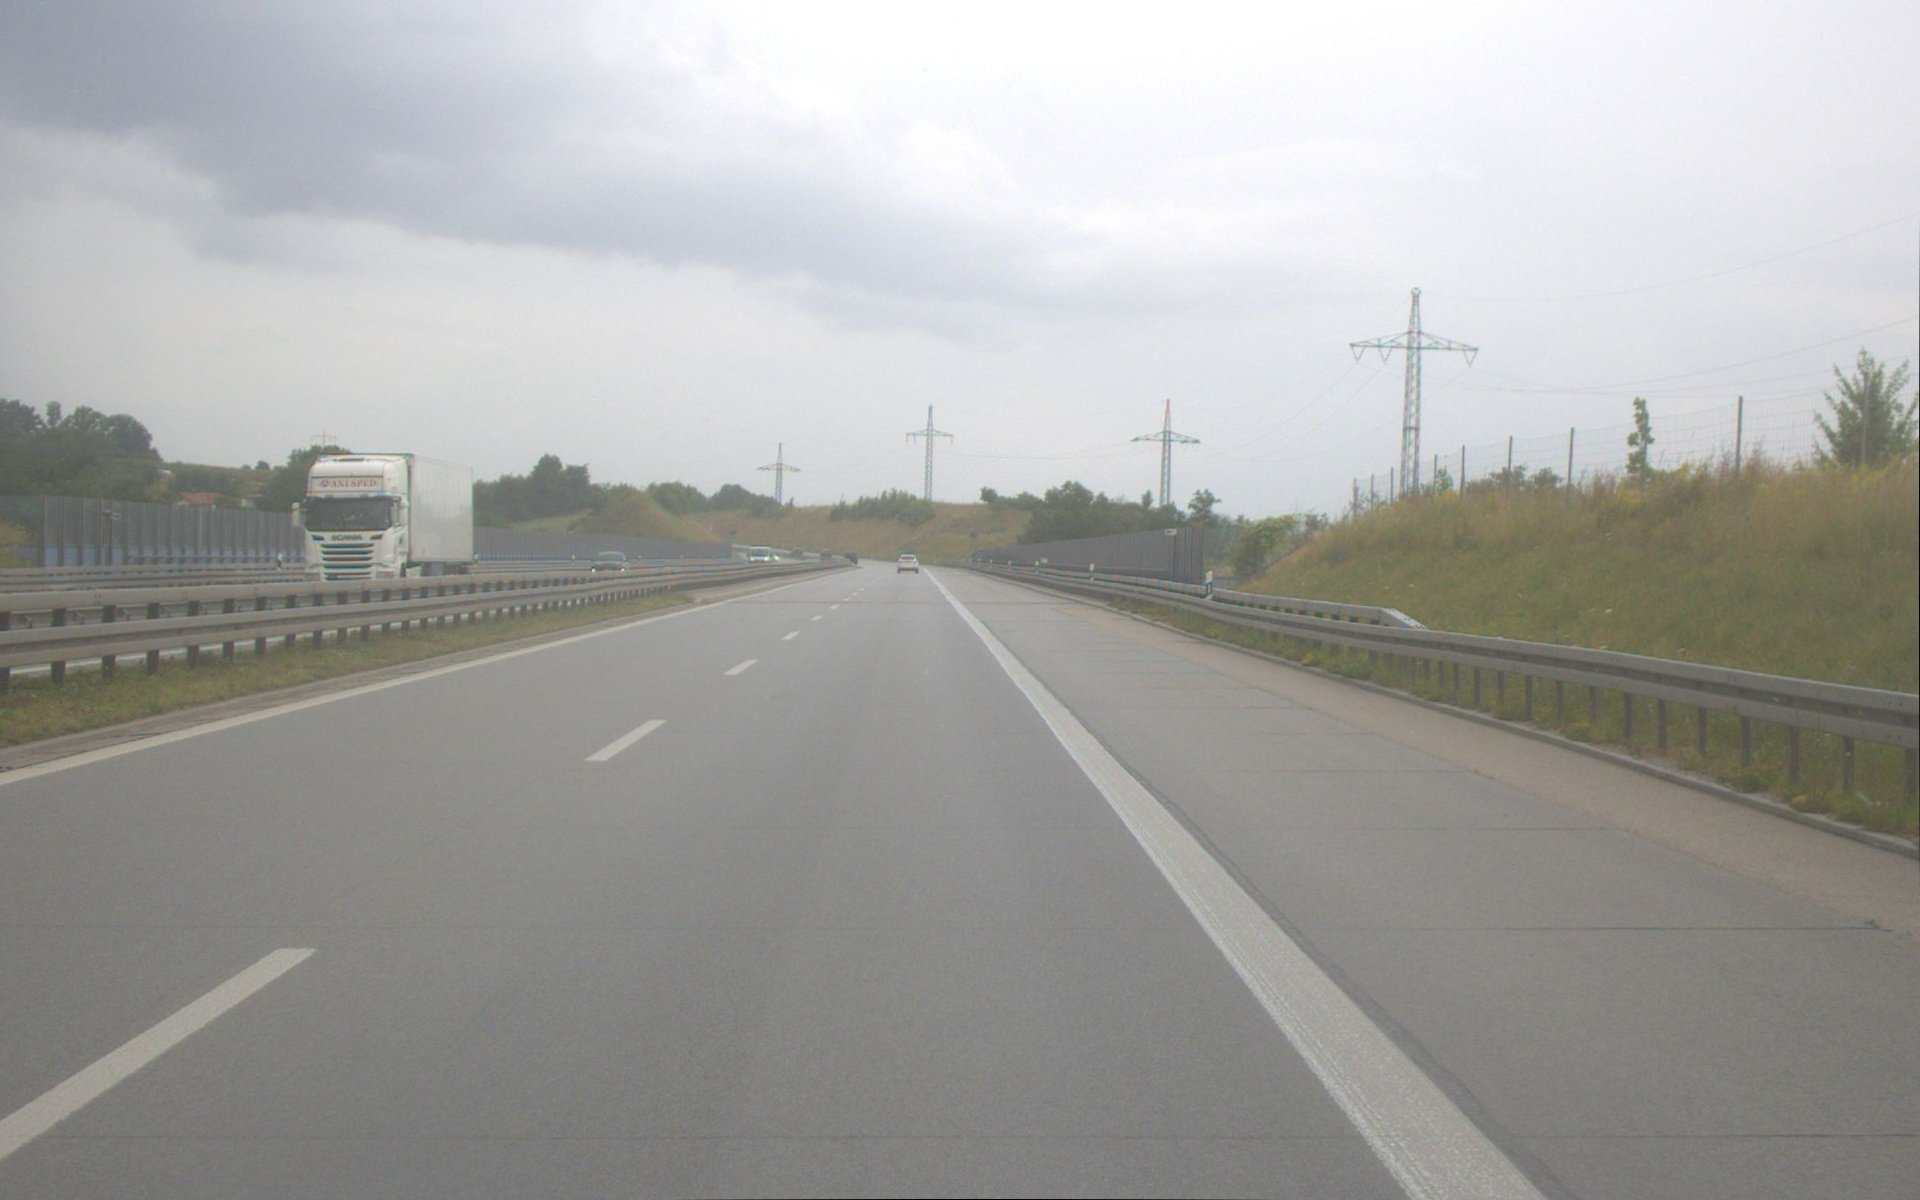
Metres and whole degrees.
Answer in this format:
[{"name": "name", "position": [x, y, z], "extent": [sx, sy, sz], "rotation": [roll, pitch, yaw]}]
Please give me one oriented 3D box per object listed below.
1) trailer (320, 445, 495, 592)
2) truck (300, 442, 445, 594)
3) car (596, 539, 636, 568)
[{"name": "trailer", "position": [-15.806, -2.299, 99.531], "extent": [2.917, 3.912, 14.275], "rotation": [1, 1, -1]}, {"name": "truck", "position": [-15.709, -2.188, 92.265], "extent": [2.952, 3.912, 5.518], "rotation": [1, 1, -1]}, {"name": "car", "position": [-17.321, -2.345, 173.220], "extent": [1.631, 1.404, 4.000], "rotation": [1, 1, -1]}]
